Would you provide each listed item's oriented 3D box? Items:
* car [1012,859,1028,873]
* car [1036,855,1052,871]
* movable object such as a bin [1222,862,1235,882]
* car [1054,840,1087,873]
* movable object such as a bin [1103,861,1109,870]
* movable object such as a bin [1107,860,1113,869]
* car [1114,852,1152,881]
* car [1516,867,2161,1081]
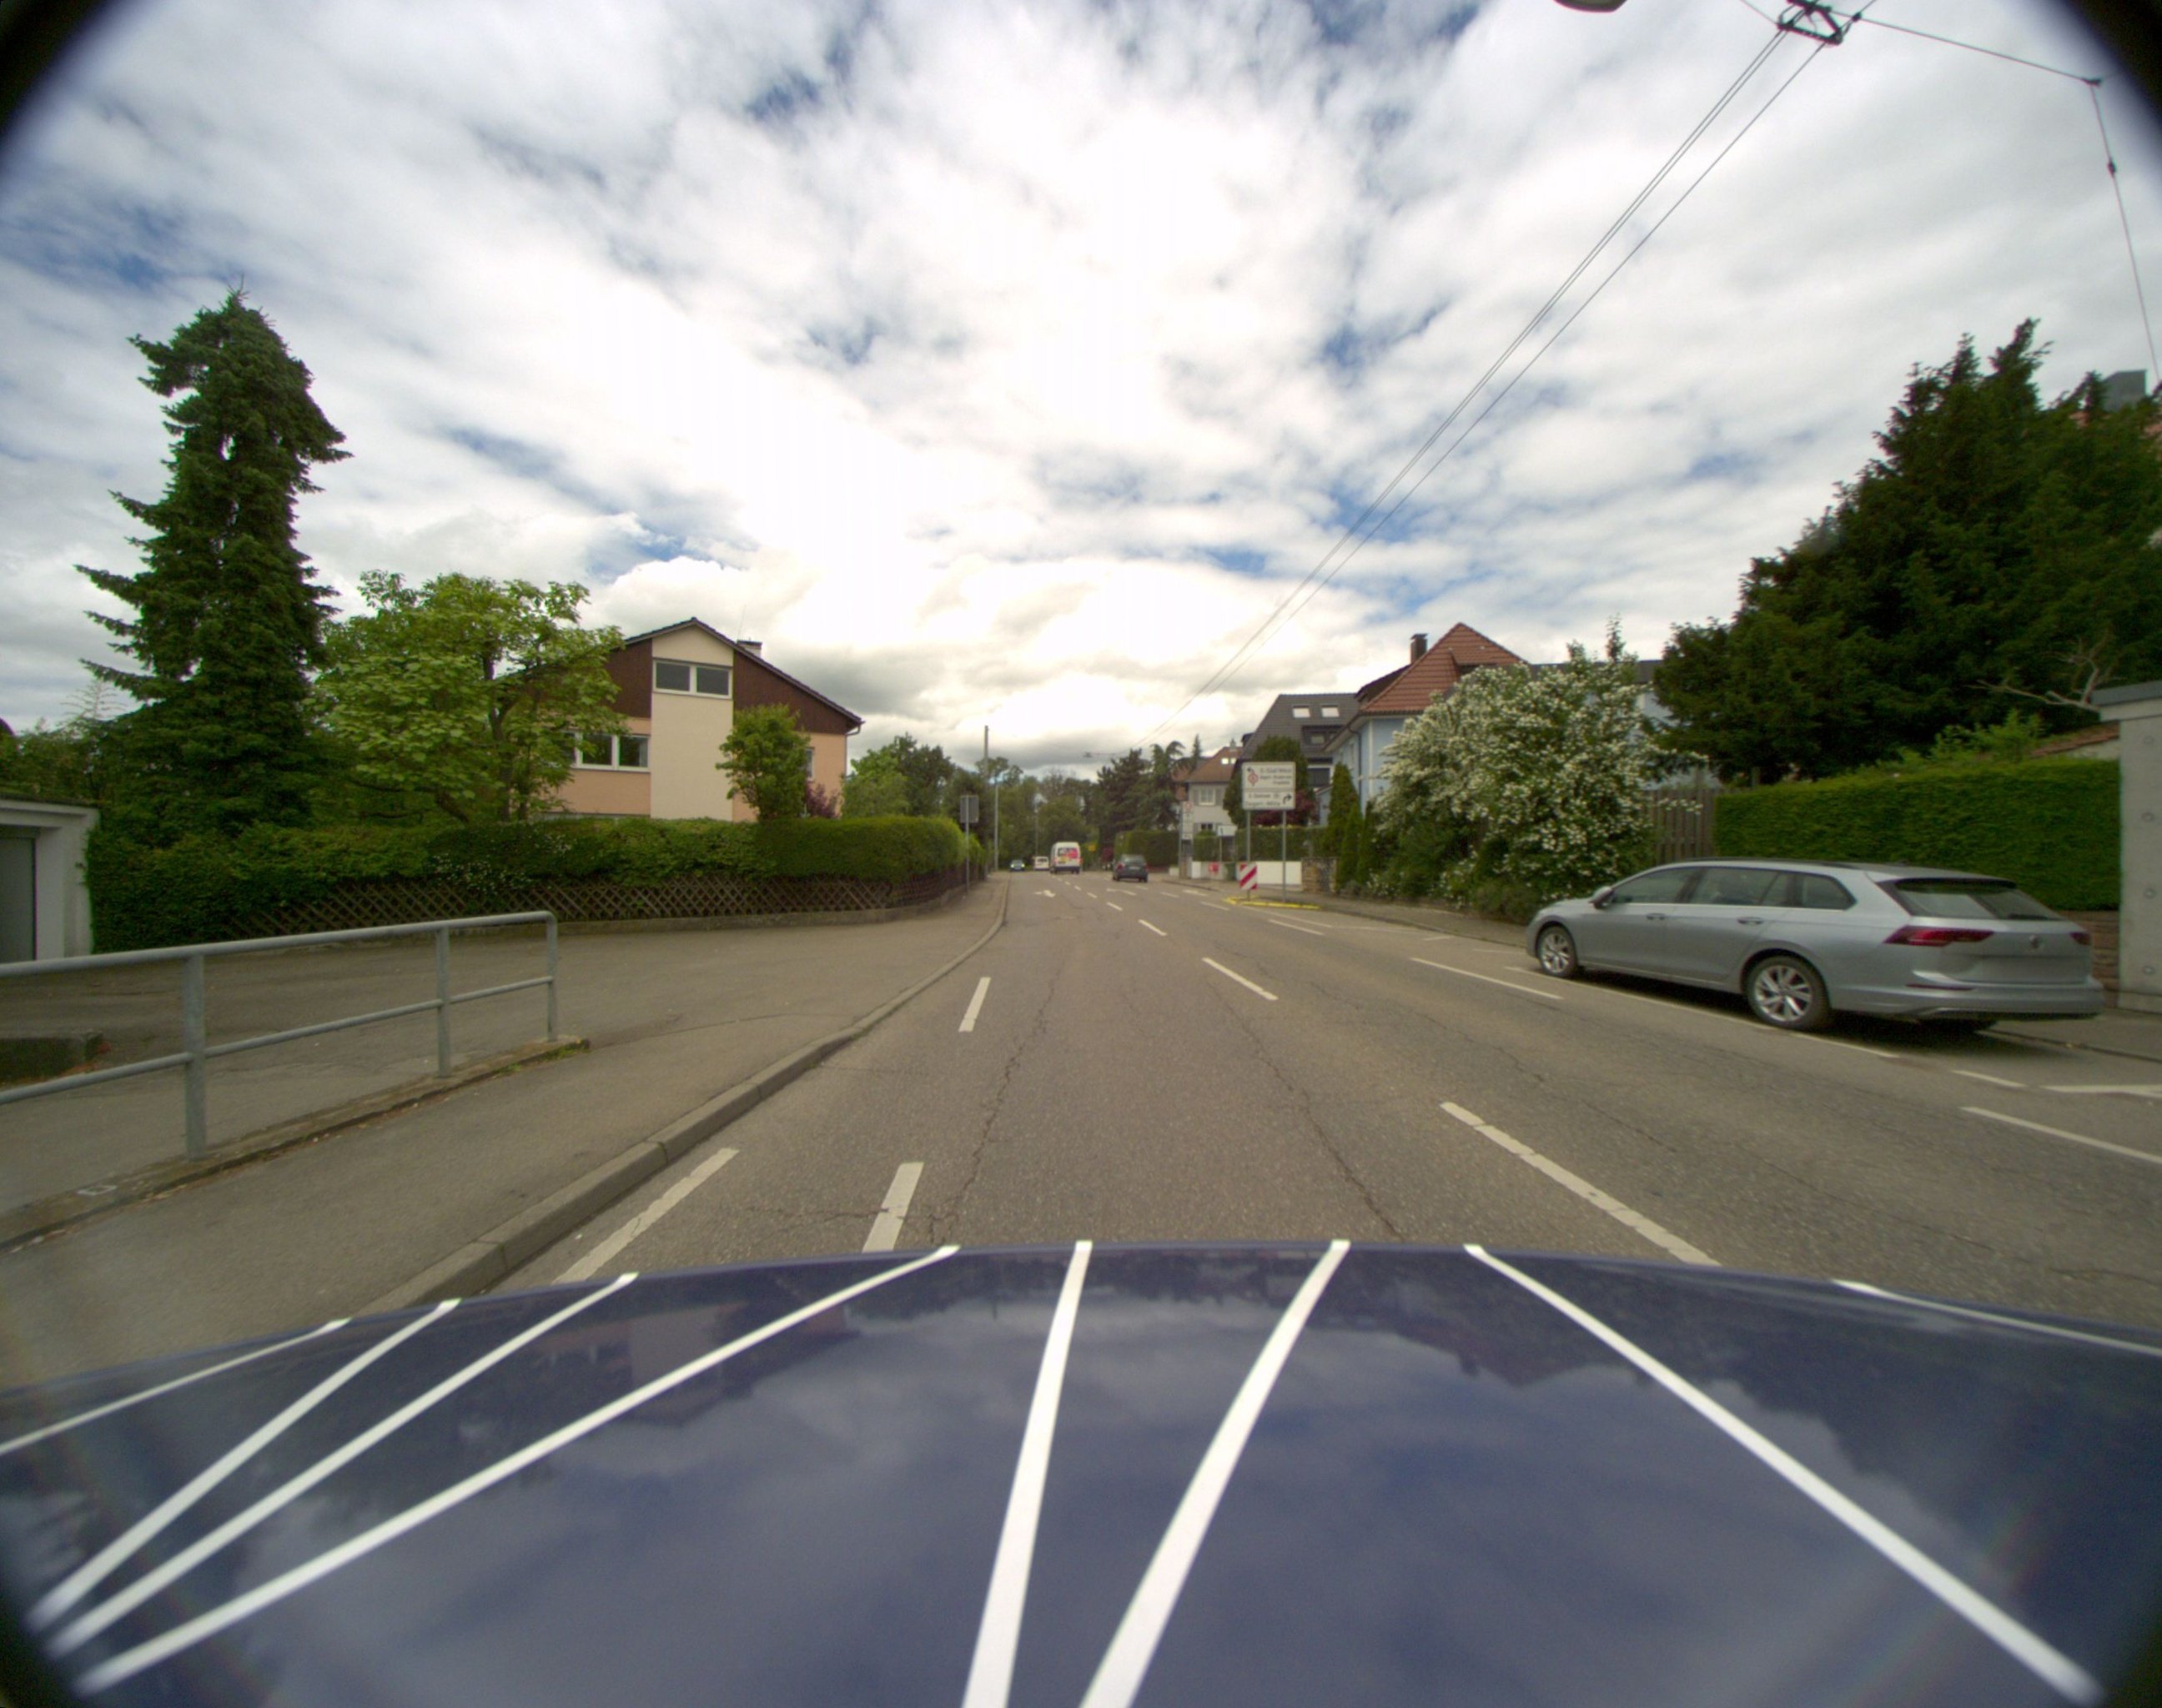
[{"bbox_3d":[-8.126,1.642,100.791,1.864,1.855,4.608,0,-1,-9],"label":"car"},{"bbox_3d":[-5.058,1.217,103.025,1.864,2.035,5.170,0,-1,-6],"label":"car"},{"bbox_3d":[7.291,0.873,37.517,0.509,0.967,0.540,0,0,-2],"label":"movable object such as a bin"},{"bbox_3d":[-0.856,0.189,59.709,2.118,2.483,6.121,0,0,-5],"label":"car"},{"bbox_3d":[2.923,1.334,88.286,0.464,0.936,0.648,-1,-1,23],"label":"movable object such as a bin"},{"bbox_3d":[3.374,1.257,88.069,0.479,1.028,0.717,-1,-1,23],"label":"movable object such as a bin"},{"bbox_3d":[2.810,0.664,41.996,1.738,1.544,4.447,0,0,-1],"label":"car"},{"bbox_3d":[6.697,0.887,7.612,1.815,1.447,4.411,1,0,-6],"label":"car"}]
